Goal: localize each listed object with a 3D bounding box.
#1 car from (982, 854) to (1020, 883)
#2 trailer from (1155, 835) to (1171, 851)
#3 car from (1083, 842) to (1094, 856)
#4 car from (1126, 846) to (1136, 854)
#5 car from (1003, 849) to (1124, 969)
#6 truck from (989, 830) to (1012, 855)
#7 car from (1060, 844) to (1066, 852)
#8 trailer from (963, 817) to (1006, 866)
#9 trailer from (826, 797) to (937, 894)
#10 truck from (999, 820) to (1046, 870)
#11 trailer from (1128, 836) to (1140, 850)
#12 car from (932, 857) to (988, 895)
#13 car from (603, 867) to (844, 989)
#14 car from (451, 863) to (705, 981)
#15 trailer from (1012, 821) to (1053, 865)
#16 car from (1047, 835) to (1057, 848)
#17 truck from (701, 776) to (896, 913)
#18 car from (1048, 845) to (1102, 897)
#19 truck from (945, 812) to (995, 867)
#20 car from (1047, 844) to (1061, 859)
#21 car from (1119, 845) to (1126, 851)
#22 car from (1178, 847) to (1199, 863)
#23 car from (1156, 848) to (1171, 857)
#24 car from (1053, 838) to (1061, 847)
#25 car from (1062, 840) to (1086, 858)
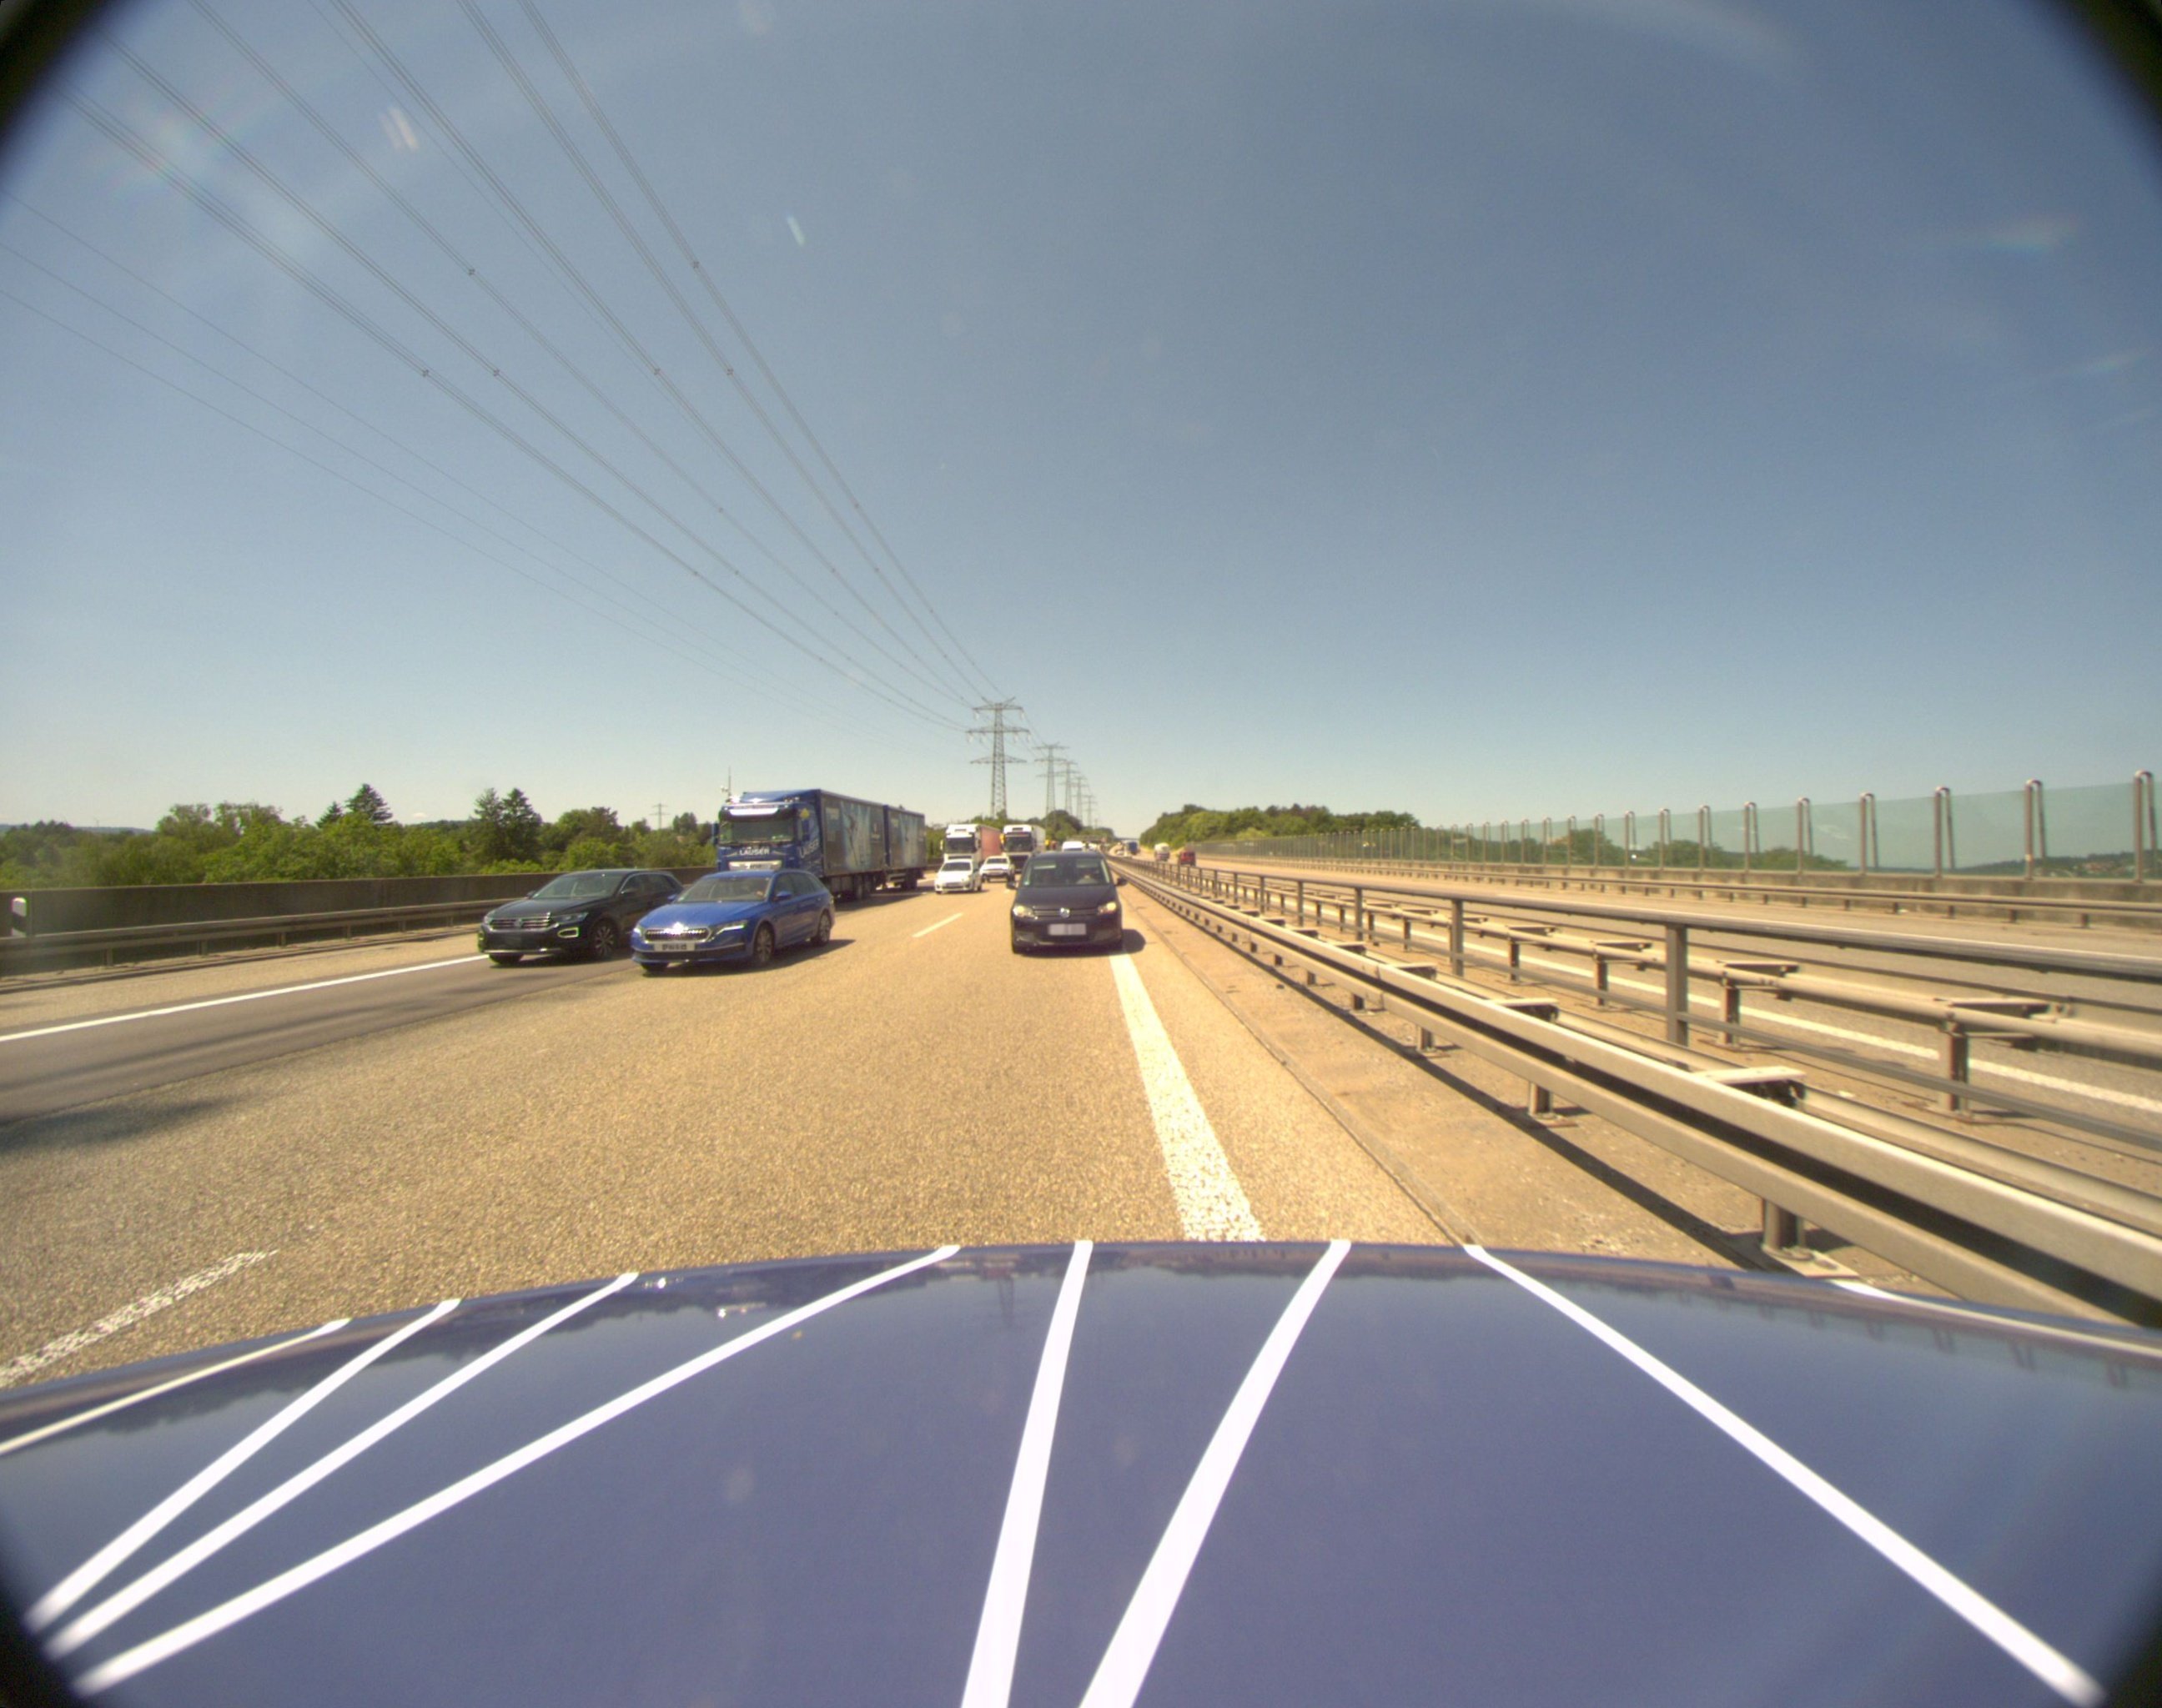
[{"bbox_3d":[-4.704,0.812,45.234,1.712,1.501,4.144,-2,1,1],"label":"car"},{"bbox_3d":[18.628,-2.546,172.754,2.505,3.520,10.901,0,1,1],"label":"trailer"},{"bbox_3d":[1.189,-0.811,118.417,1.704,2.116,3.999,-2,1,1],"label":"car"},{"bbox_3d":[10.883,-0.859,165.451,1.876,1.521,3.608,4,1,0],"label":"car"},{"bbox_3d":[-0.252,0.794,13.115,1.713,1.669,3.931,-2,1,0],"label":"car"},{"bbox_3d":[-9.788,-1.400,92.700,2.251,2.966,6.242,2,1,-1],"label":"truck"},{"bbox_3d":[-5.089,-1.797,216.178,1.704,2.116,3.999,2,1,1],"label":"car"},{"bbox_3d":[-8.678,-1.144,69.105,2.608,4.094,9.083,-2,1,0],"label":"trailer"},{"bbox_3d":[-9.447,-0.421,37.135,2.835,4.066,8.636,-2,1,1],"label":"trailer"},{"bbox_3d":[-4.778,-0.752,63.781,2.849,3.804,8.264,-2,1,2],"label":"truck"},{"bbox_3d":[16.307,-3.302,232.571,2.711,4.141,12.047,0,1,0],"label":"trailer"},{"bbox_3d":[-5.322,0.936,33.862,1.712,1.443,4.144,-2,1,1],"label":"car"},{"bbox_3d":[-5.551,1.040,12.573,1.712,1.443,4.562,-2,1,1],"label":"car"},{"bbox_3d":[-8.733,1.073,13.717,1.712,1.645,4.117,-2,1,1],"label":"car"},{"bbox_3d":[-4.490,-1.066,72.462,2.822,3.830,9.084,-2,1,2],"label":"trailer"},{"bbox_3d":[-5.914,-2.525,154.602,1.704,2.525,3.999,2,1,1],"label":"car"},{"bbox_3d":[-9.603,-0.350,27.639,2.859,3.927,10.392,-2,1,1],"label":"truck"},{"bbox_3d":[-0.196,0.548,27.316,1.713,1.669,3.931,-2,1,0],"label":"car"},{"bbox_3d":[-8.700,-1.160,60.386,2.608,3.965,8.263,-2,1,0],"label":"truck"},{"bbox_3d":[-3.842,-0.376,108.902,1.704,2.116,3.999,2,1,1],"label":"car"},{"bbox_3d":[11.953,-1.643,220.223,1.811,1.630,3.999,1,1,-1],"label":"car"},{"bbox_3d":[13.064,0.088,92.401,1.844,1.812,4.746,0,1,-1],"label":"car"},{"bbox_3d":[13.712,-0.193,126.442,1.876,1.434,4.384,1,1,0],"label":"car"},{"bbox_3d":[-5.766,-2.781,184.161,1.704,2.116,3.999,2,1,1],"label":"car"},{"bbox_3d":[-0.594,-0.467,67.612,1.924,1.501,3.996,-2,1,1],"label":"car"}]
